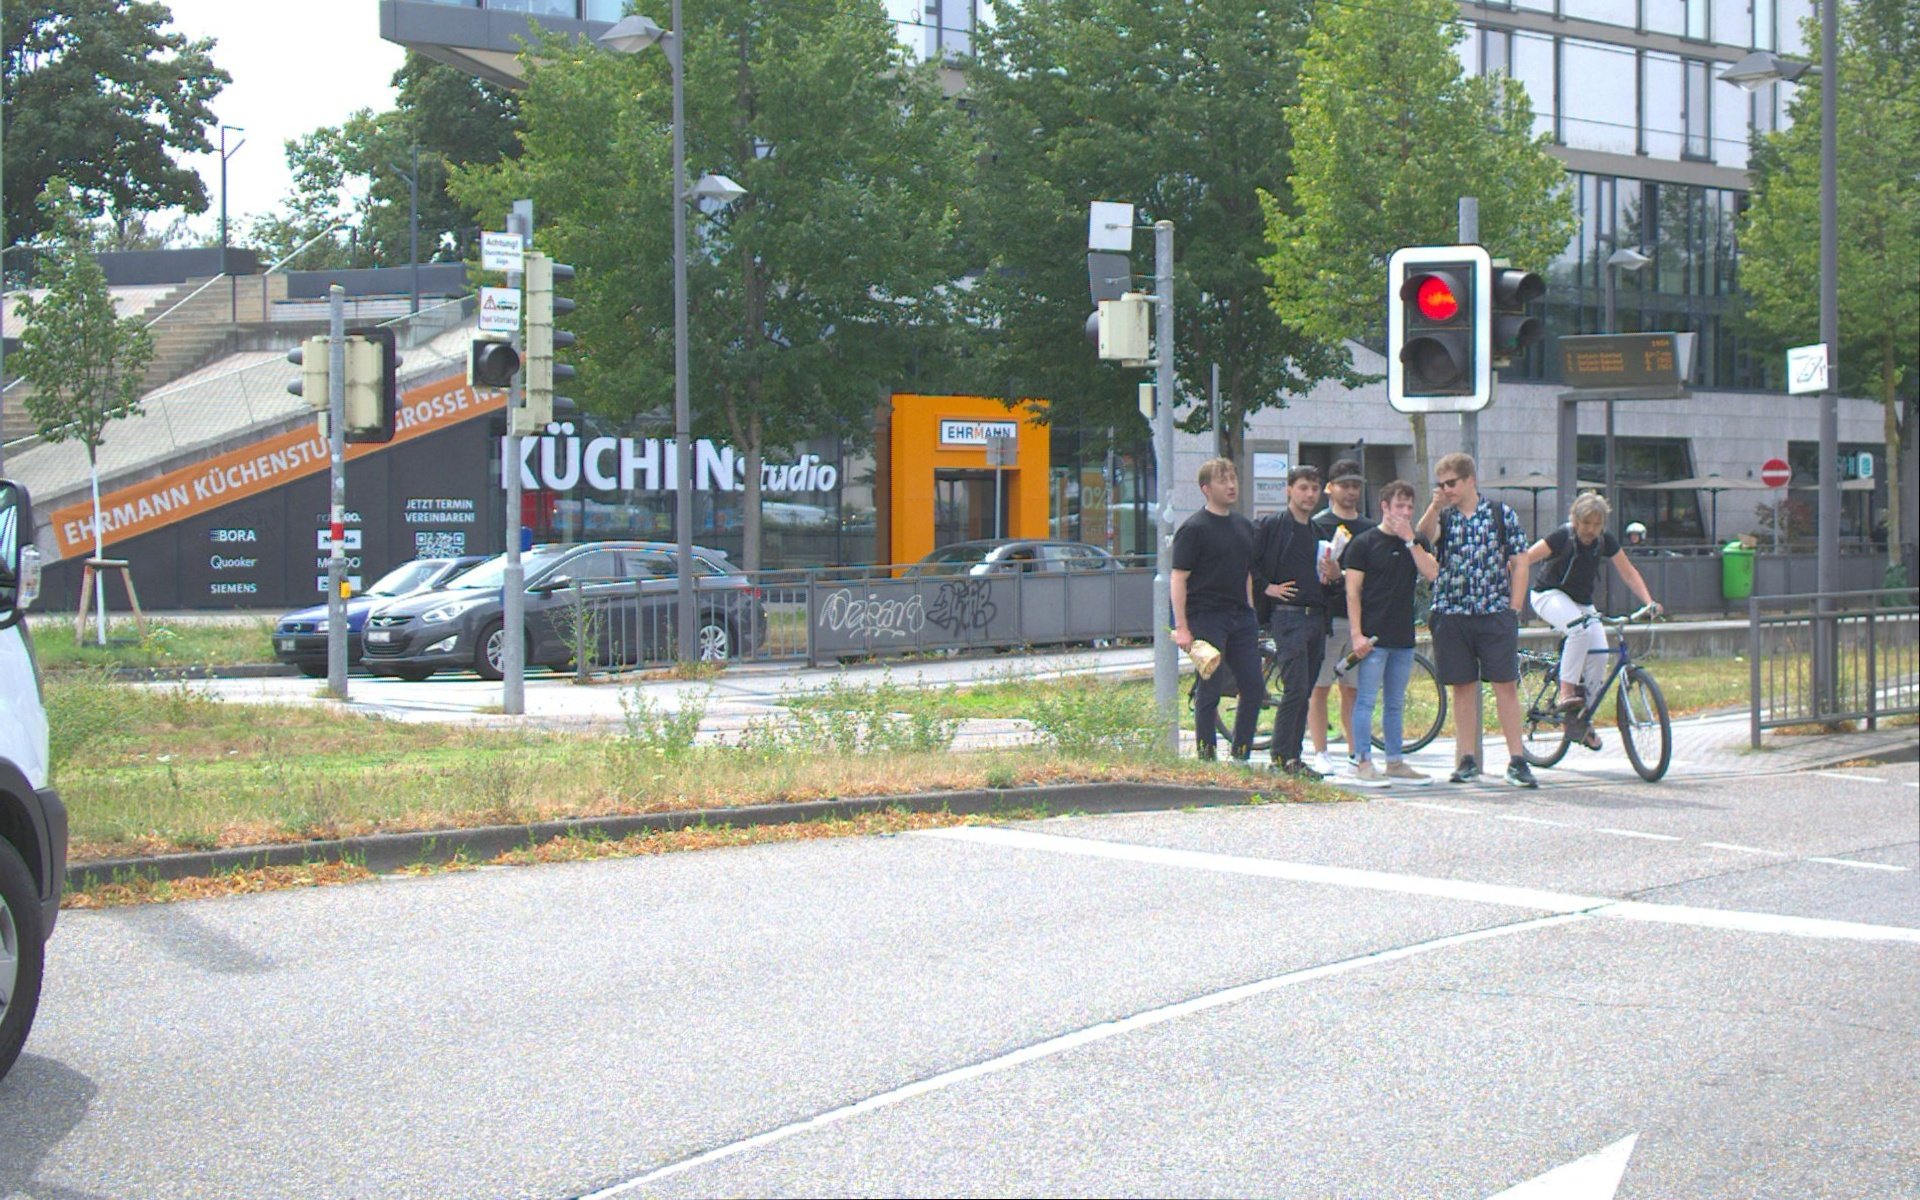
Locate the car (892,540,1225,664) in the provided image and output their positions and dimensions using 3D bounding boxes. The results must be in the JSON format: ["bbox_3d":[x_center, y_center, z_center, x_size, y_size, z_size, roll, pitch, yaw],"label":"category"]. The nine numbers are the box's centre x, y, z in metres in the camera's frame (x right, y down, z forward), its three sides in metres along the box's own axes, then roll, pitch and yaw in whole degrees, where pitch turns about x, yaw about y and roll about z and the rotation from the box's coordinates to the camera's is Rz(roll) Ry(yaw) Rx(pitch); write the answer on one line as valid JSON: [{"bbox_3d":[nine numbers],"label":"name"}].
[{"bbox_3d":[1.265,-0.001,43.265,3.989,1.453,1.848,0,2,-41],"label":"car"}]

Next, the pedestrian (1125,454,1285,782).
[{"bbox_3d":[1.358,0.088,19.031,0.552,1.775,0.688,2,1,41],"label":"pedestrian"}]

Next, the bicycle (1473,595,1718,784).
[{"bbox_3d":[3.834,0.522,20.866,0.547,1.054,1.713,0,1,-25],"label":"bicycle"}]

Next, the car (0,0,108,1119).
[{"bbox_3d":[-3.580,-0.077,6.166,2.127,2.688,5.630,0,1,7],"label":"car"}]

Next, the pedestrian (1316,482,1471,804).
[{"bbox_3d":[2.456,0.229,19.457,0.552,1.775,0.688,2,1,41],"label":"pedestrian"}]

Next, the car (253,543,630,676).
[{"bbox_3d":[-6.029,0.080,40.195,3.989,1.453,1.848,0,2,-42],"label":"car"}]

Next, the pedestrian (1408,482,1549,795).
[{"bbox_3d":[3.006,0.212,19.932,0.552,1.775,0.579,2,1,41],"label":"pedestrian"}]

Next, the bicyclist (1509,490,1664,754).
[{"bbox_3d":[3.804,0.122,20.917,0.558,1.575,0.766,0,1,-25],"label":"bicyclist"}]

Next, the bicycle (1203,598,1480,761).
[{"bbox_3d":[2.542,0.514,23.014,1.755,1.003,0.652,2,2,39],"label":"bicycle"}]

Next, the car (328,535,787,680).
[{"bbox_3d":[-4.302,0.050,37.239,4.725,1.453,1.848,0,2,-42],"label":"car"}]

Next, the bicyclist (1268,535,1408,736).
[{"bbox_3d":[2.532,0.224,23.032,0.674,1.312,0.638,2,1,39],"label":"bicyclist"}]

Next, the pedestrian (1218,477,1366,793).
[{"bbox_3d":[1.908,0.190,19.740,0.552,1.775,0.632,2,1,41],"label":"pedestrian"}]

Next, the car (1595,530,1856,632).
[{"bbox_3d":[11.607,-0.305,52.003,3.989,1.453,1.848,0,2,-41],"label":"car"}]

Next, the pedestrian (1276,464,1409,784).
[{"bbox_3d":[2.254,0.130,20.265,0.552,1.855,0.530,2,1,41],"label":"pedestrian"}]
